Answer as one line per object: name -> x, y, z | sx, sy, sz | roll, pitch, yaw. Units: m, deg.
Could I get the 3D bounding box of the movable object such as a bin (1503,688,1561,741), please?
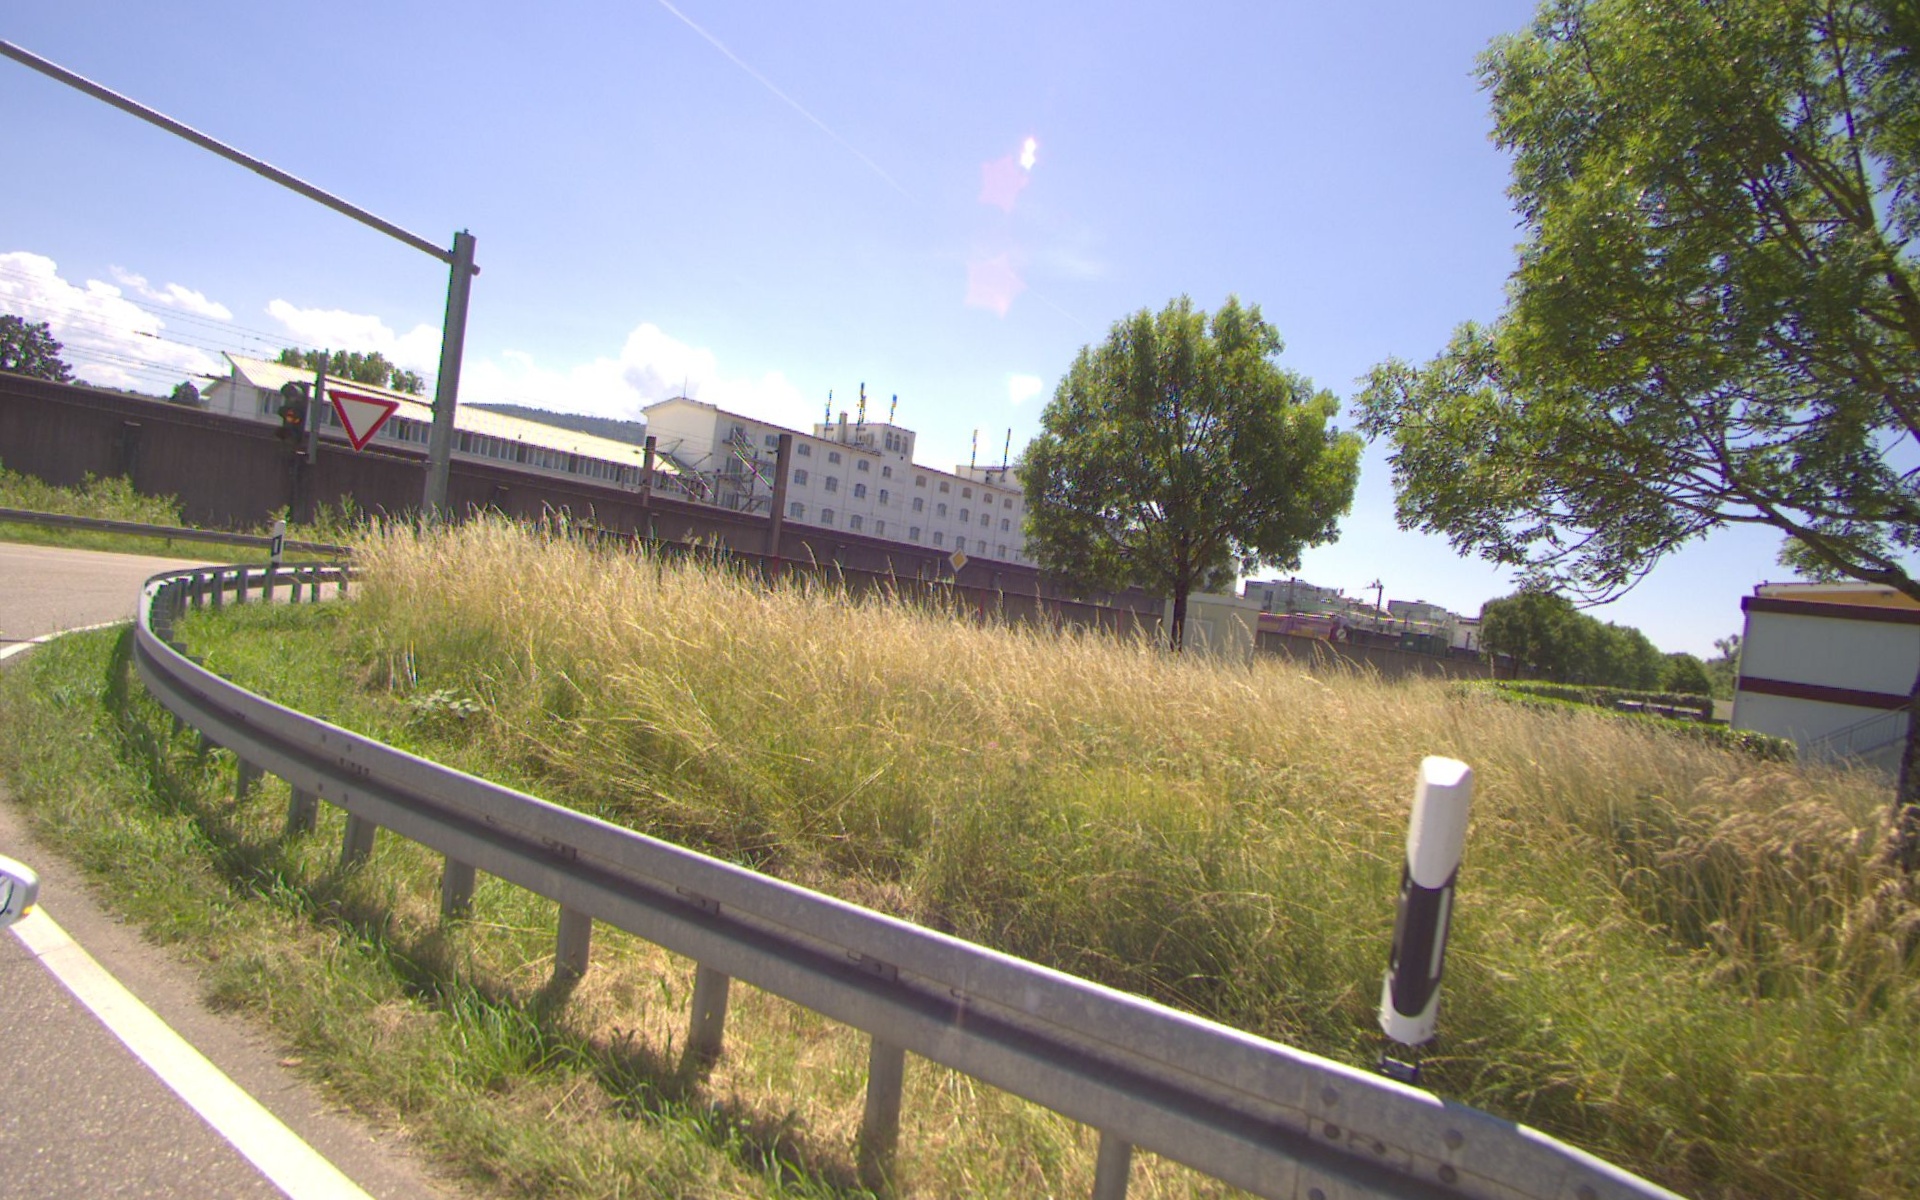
movable object such as a bin -> 21.519, 4.298, 37.854 | 1.540, 1.707, 1.225 | 7, 0, 40

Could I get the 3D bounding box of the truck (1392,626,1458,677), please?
truck -> 41.828, 4.720, 90.215 | 2.960, 3.764, 10.525 | 7, -1, 37

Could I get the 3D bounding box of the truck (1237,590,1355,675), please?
truck -> 21.252, 2.193, 62.960 | 2.961, 4.230, 11.767 | 7, -1, 38
